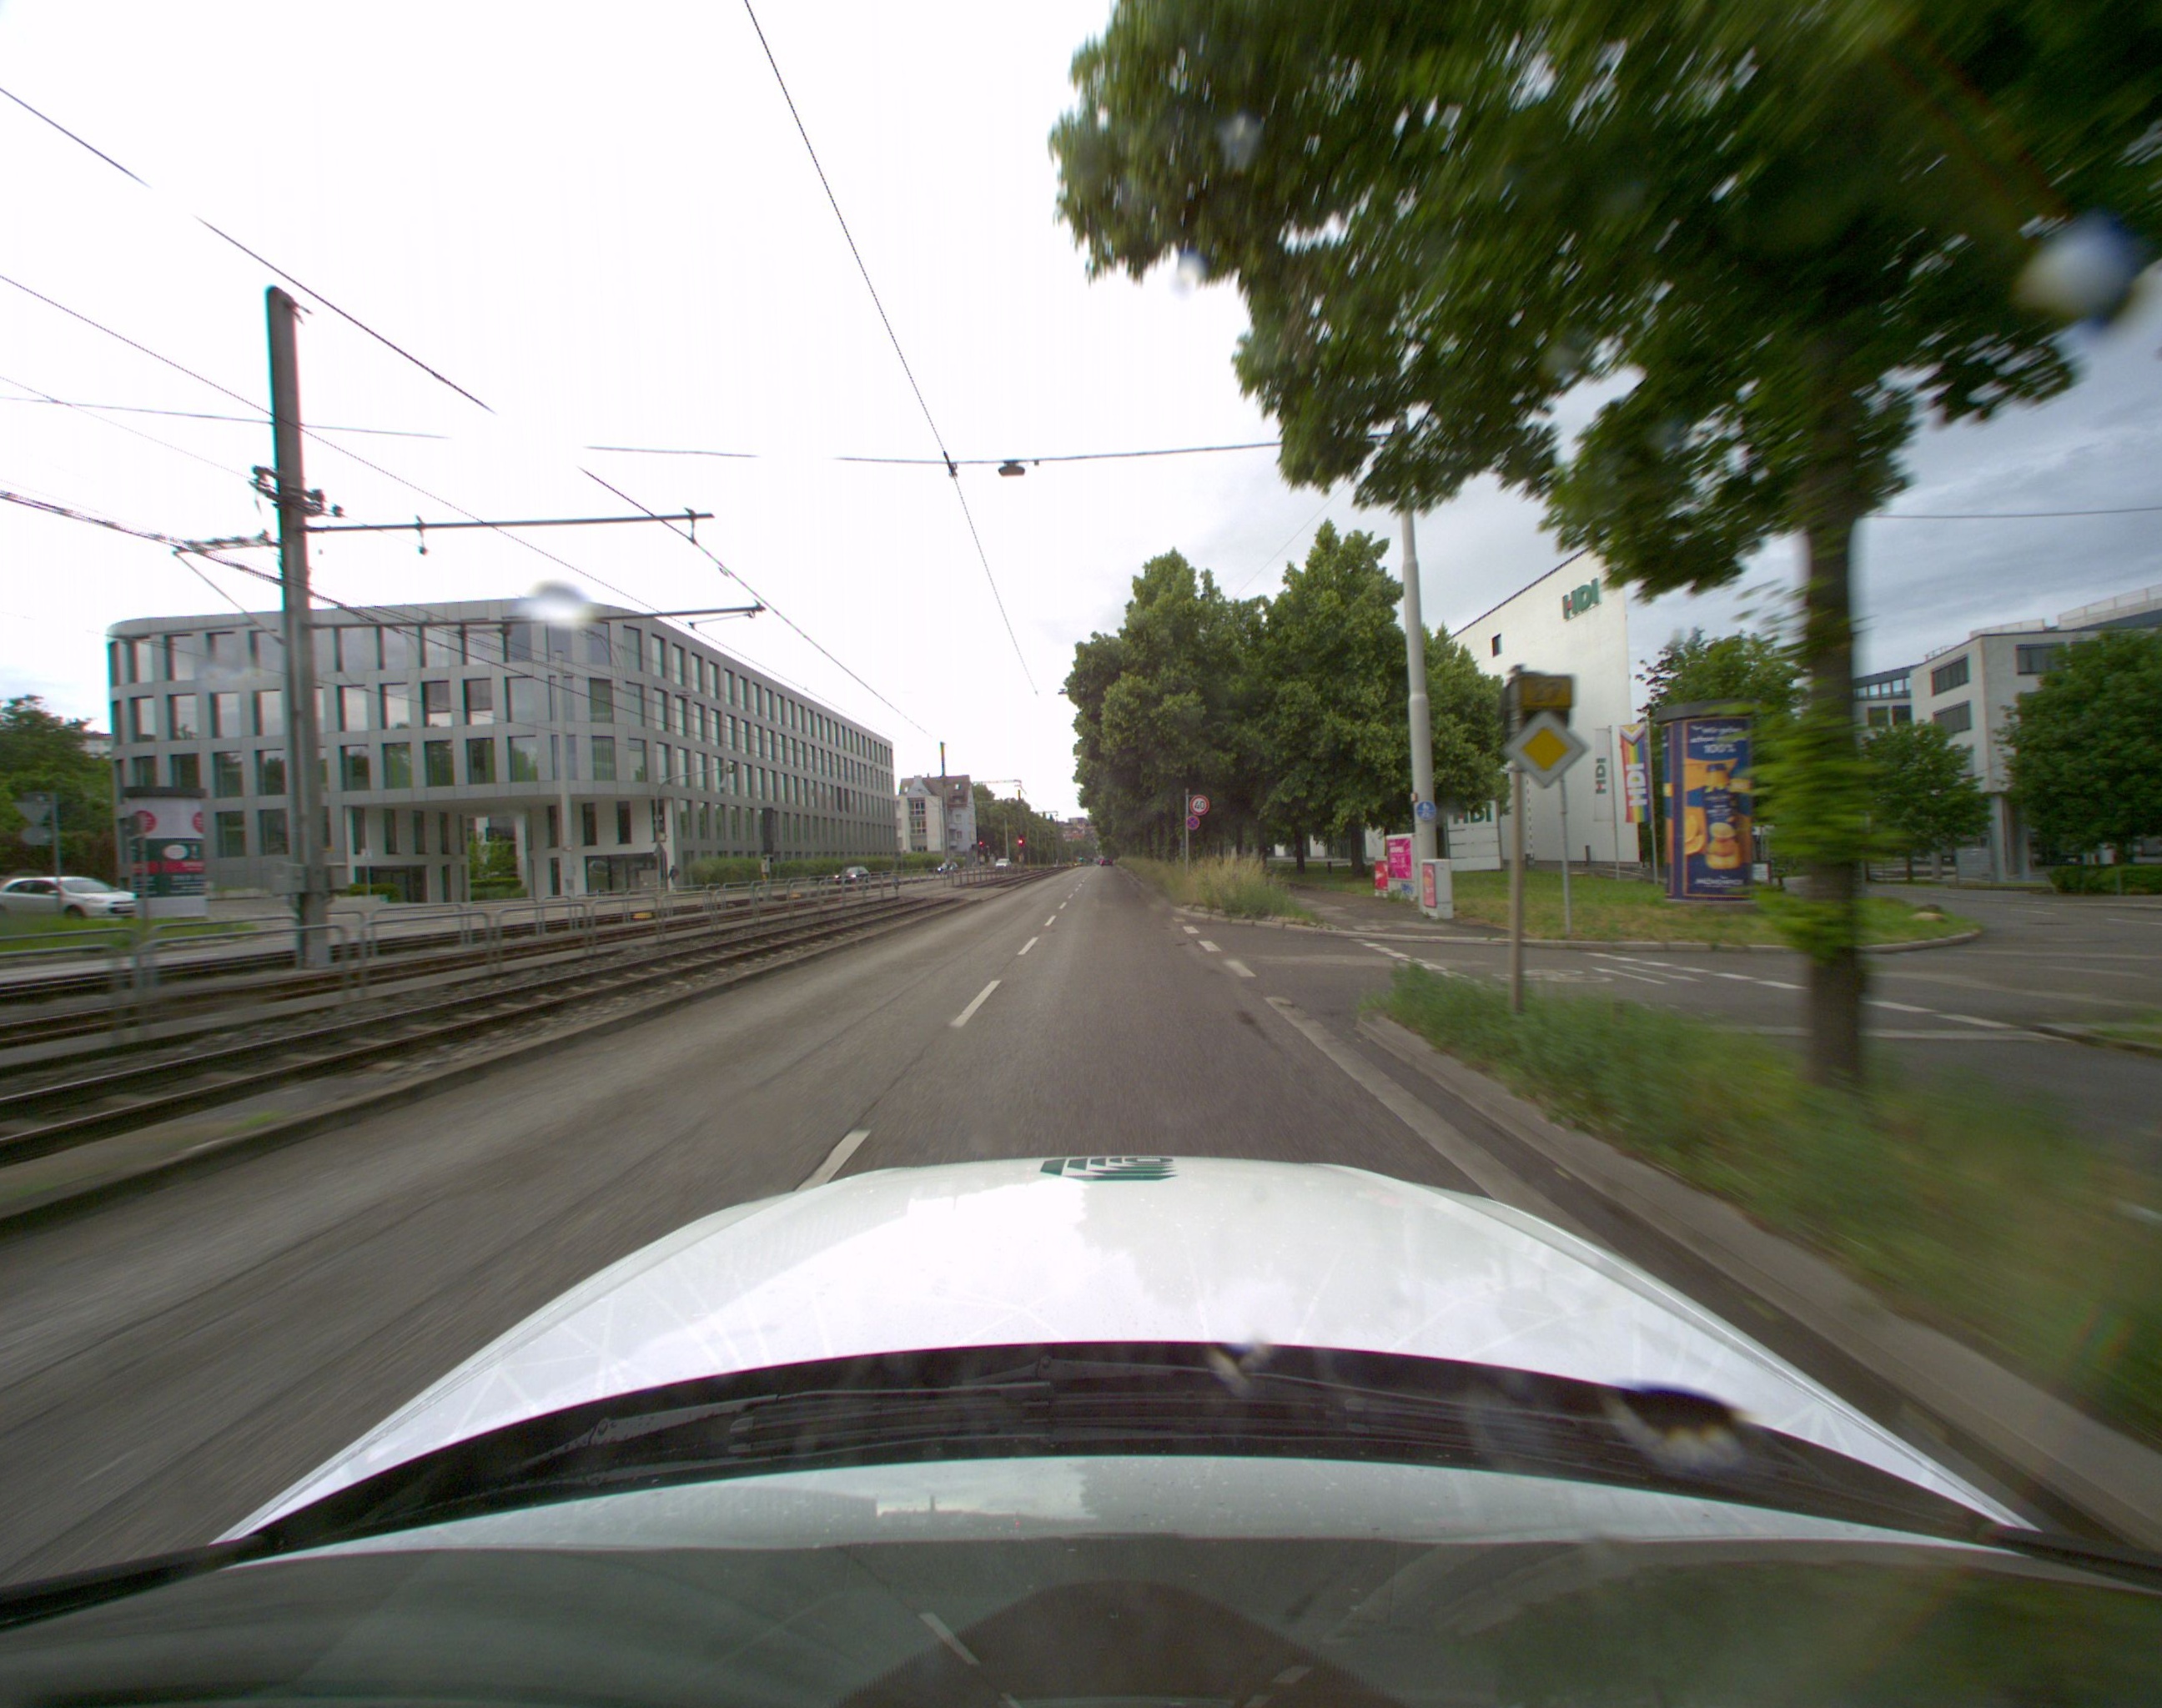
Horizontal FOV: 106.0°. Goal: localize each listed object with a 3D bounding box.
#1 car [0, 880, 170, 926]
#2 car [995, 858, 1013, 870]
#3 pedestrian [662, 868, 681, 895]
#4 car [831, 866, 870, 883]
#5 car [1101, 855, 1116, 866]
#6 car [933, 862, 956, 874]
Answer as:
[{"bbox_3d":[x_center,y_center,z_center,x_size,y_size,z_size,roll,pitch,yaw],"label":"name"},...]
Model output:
[{"bbox_3d":[-34.220,1.643,27.840,3.907,1.453,1.925,0,-1,-1],"label":"car"},{"bbox_3d":[-11.460,1.478,121.119,1.894,1.645,4.888,-3,-1,3],"label":"car"},{"bbox_3d":[-25.843,1.745,51.424,0.721,1.648,0.846,-2,-1,2],"label":"pedestrian"},{"bbox_3d":[-18.277,1.616,64.694,1.750,1.244,3.989,-3,0,2],"label":"car"},{"bbox_3d":[4.068,0.980,120.221,1.974,1.440,4.476,-3,-1,2],"label":"car"},{"bbox_3d":[-16.587,1.703,99.028,1.791,1.347,4.261,-3,-1,2],"label":"car"}]
